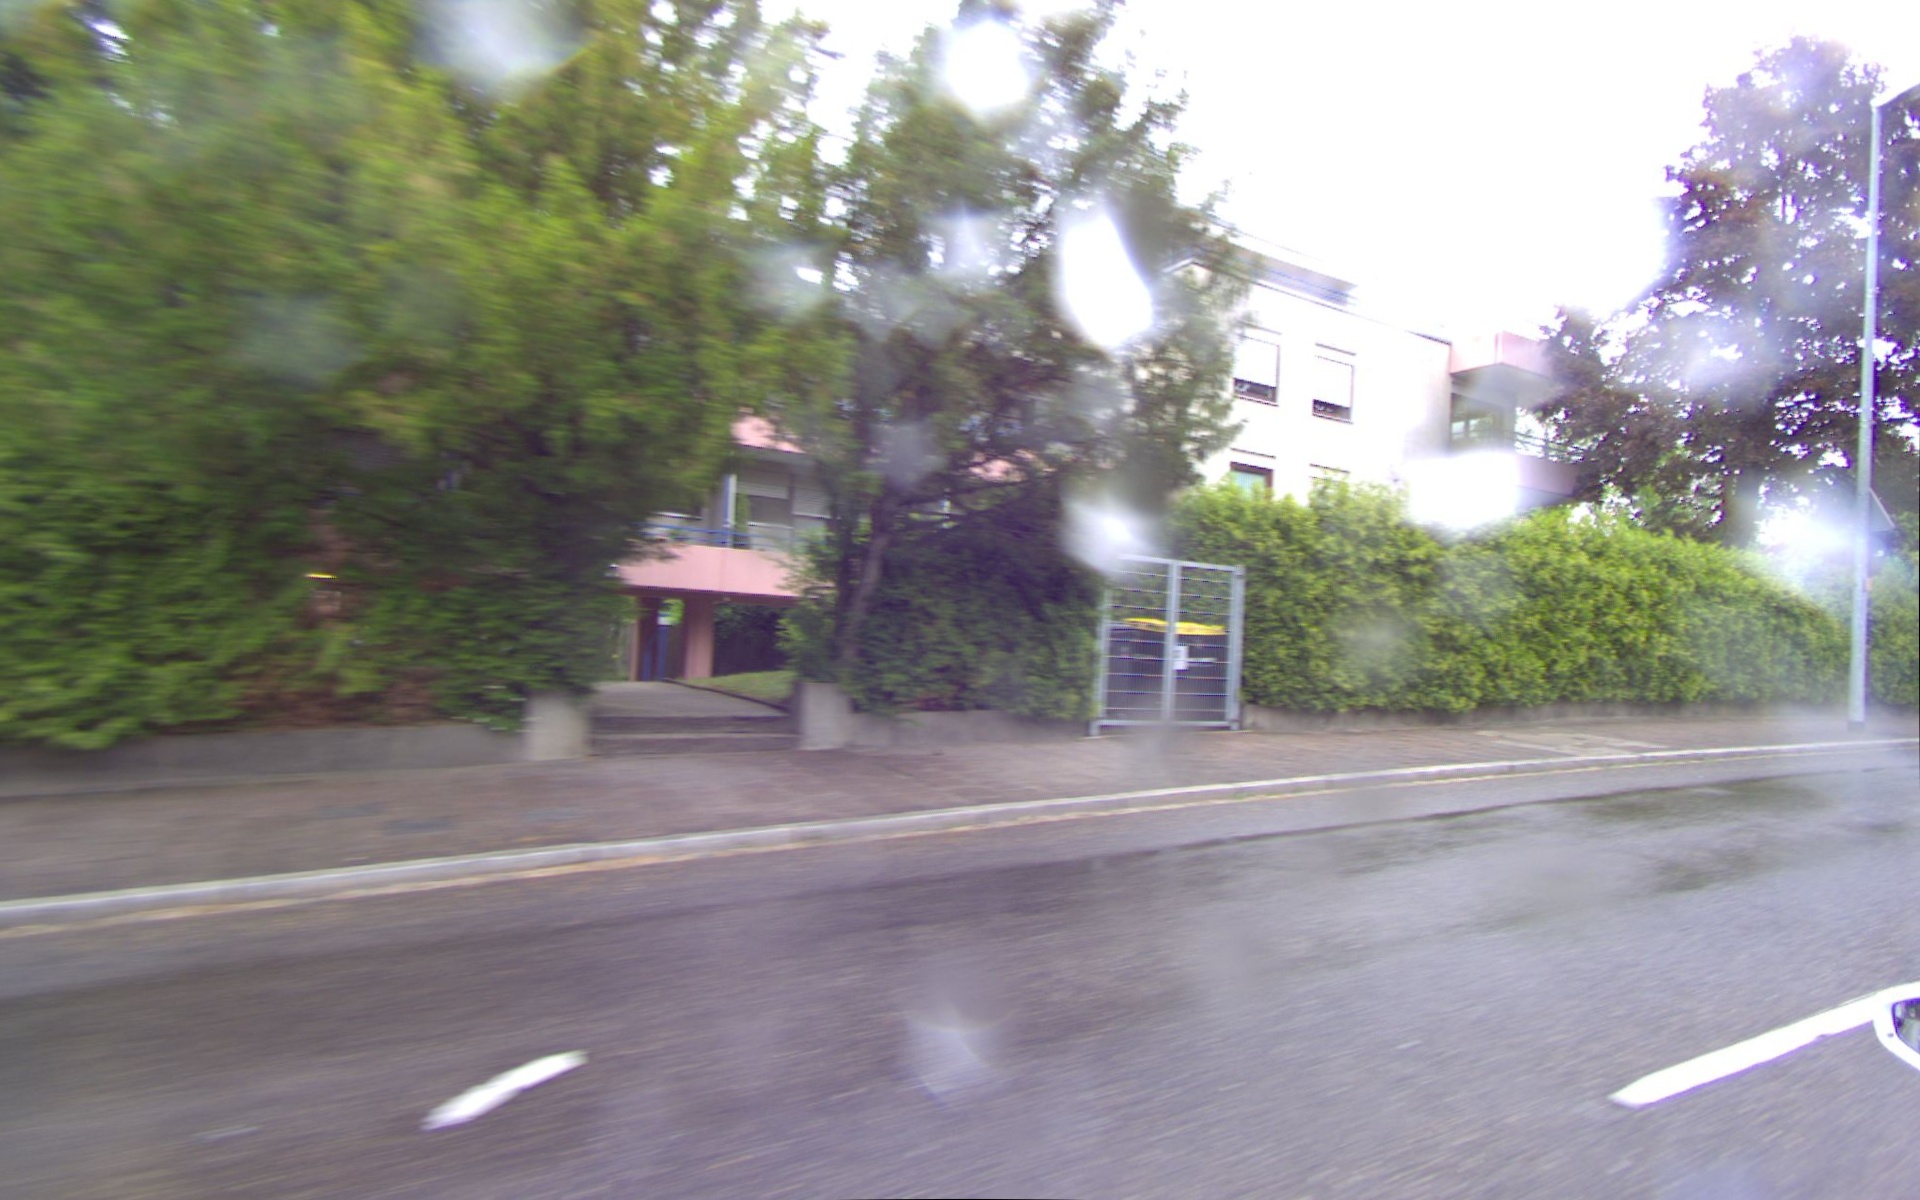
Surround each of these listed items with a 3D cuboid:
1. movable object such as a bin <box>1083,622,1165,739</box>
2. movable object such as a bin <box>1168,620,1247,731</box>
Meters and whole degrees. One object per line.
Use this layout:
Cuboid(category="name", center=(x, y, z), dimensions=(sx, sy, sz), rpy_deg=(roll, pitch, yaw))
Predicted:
Cuboid(category="movable object such as a bin", center=(1.985, 0.952, 12.166), dimensions=(0.796, 1.344, 0.545), rpy_deg=(1, 1, -30))
Cuboid(category="movable object such as a bin", center=(3.131, 0.934, 12.731), dimensions=(0.796, 1.344, 0.545), rpy_deg=(1, 1, -30))
